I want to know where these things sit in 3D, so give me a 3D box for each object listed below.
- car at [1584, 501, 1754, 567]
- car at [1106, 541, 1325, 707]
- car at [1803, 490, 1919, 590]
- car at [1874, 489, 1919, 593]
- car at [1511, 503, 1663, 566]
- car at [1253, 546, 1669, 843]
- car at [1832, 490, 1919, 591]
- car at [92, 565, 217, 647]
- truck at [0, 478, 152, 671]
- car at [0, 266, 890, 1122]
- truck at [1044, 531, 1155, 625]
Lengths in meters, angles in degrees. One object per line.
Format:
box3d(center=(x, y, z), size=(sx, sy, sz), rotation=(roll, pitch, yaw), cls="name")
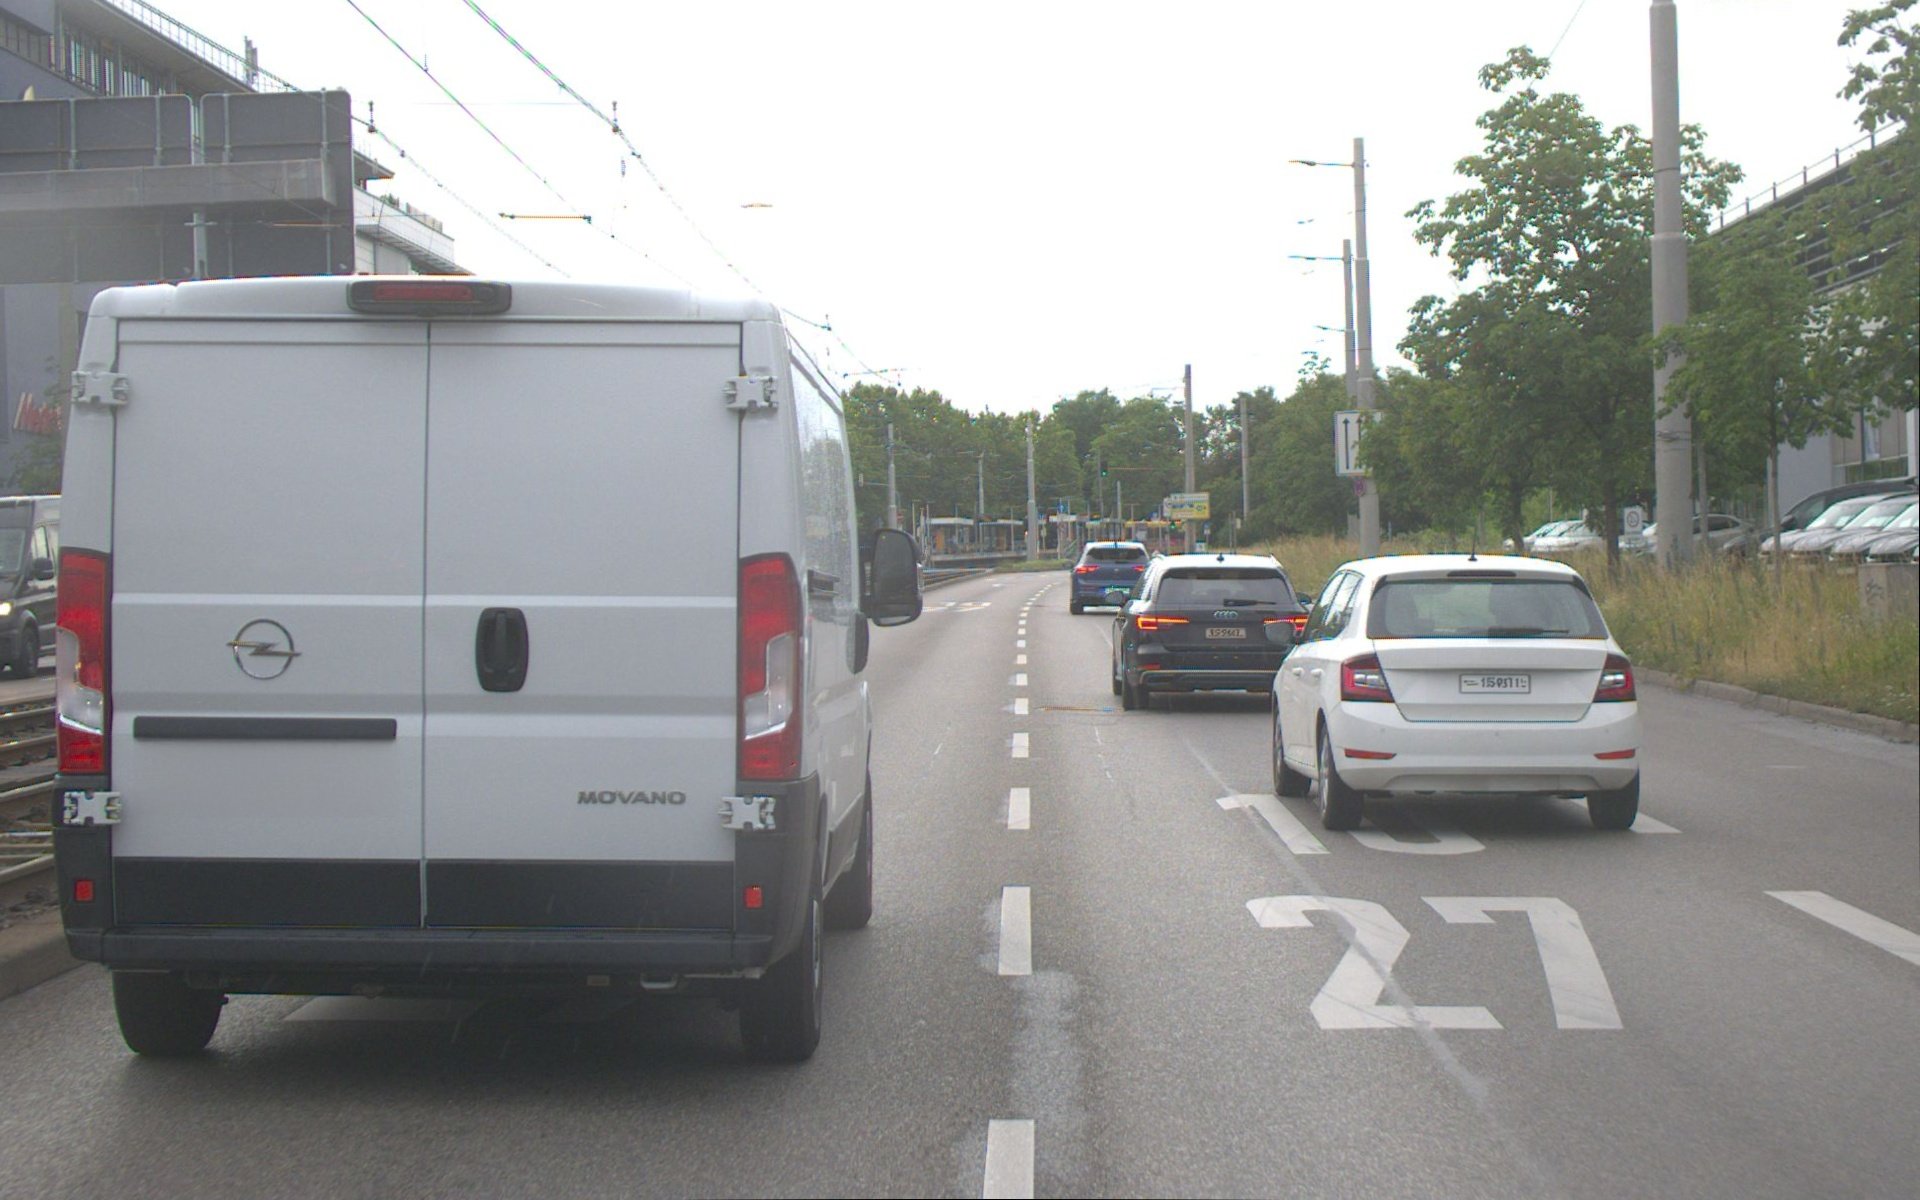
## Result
box3d(center=(18.092, -1.693, 87.664), size=(4.087, 1.460, 1.748), rotation=(-3, 0, -31), cls="car")
box3d(center=(2.344, 0.179, 32.393), size=(1.789, 1.444, 4.000), rotation=(0, 1, 1), cls="car")
box3d(center=(16.636, -1.078, 58.421), size=(4.138, 1.599, 1.827), rotation=(-3, 1, -23), cls="car")
box3d(center=(16.342, -0.996, 52.652), size=(4.138, 1.564, 1.910), rotation=(-3, 1, -21), cls="car")
box3d(center=(17.706, -1.842, 97.038), size=(4.087, 1.563, 1.799), rotation=(-3, 0, -35), cls="car")
box3d(center=(2.697, 0.453, 19.272), size=(1.746, 1.452, 3.671), rotation=(1, 1, 0), cls="car")
box3d(center=(16.388, -1.039, 55.538), size=(4.138, 1.564, 1.827), rotation=(-3, 1, -23), cls="car")
box3d(center=(-15.647, 0.091, 66.921), size=(1.802, 1.424, 4.237), rotation=(-3, 1, -6), cls="car")
box3d(center=(-13.668, -0.340, 49.273), size=(2.239, 2.556, 7.014), rotation=(-3, 1, 1), cls="truck")
box3d(center=(-1.393, 0.185, 11.412), size=(2.090, 2.189, 5.061), rotation=(1, 1, 1), cls="car")
box3d(center=(2.787, -0.469, 69.614), size=(1.993, 1.784, 4.414), rotation=(-2, 1, -1), cls="truck")
